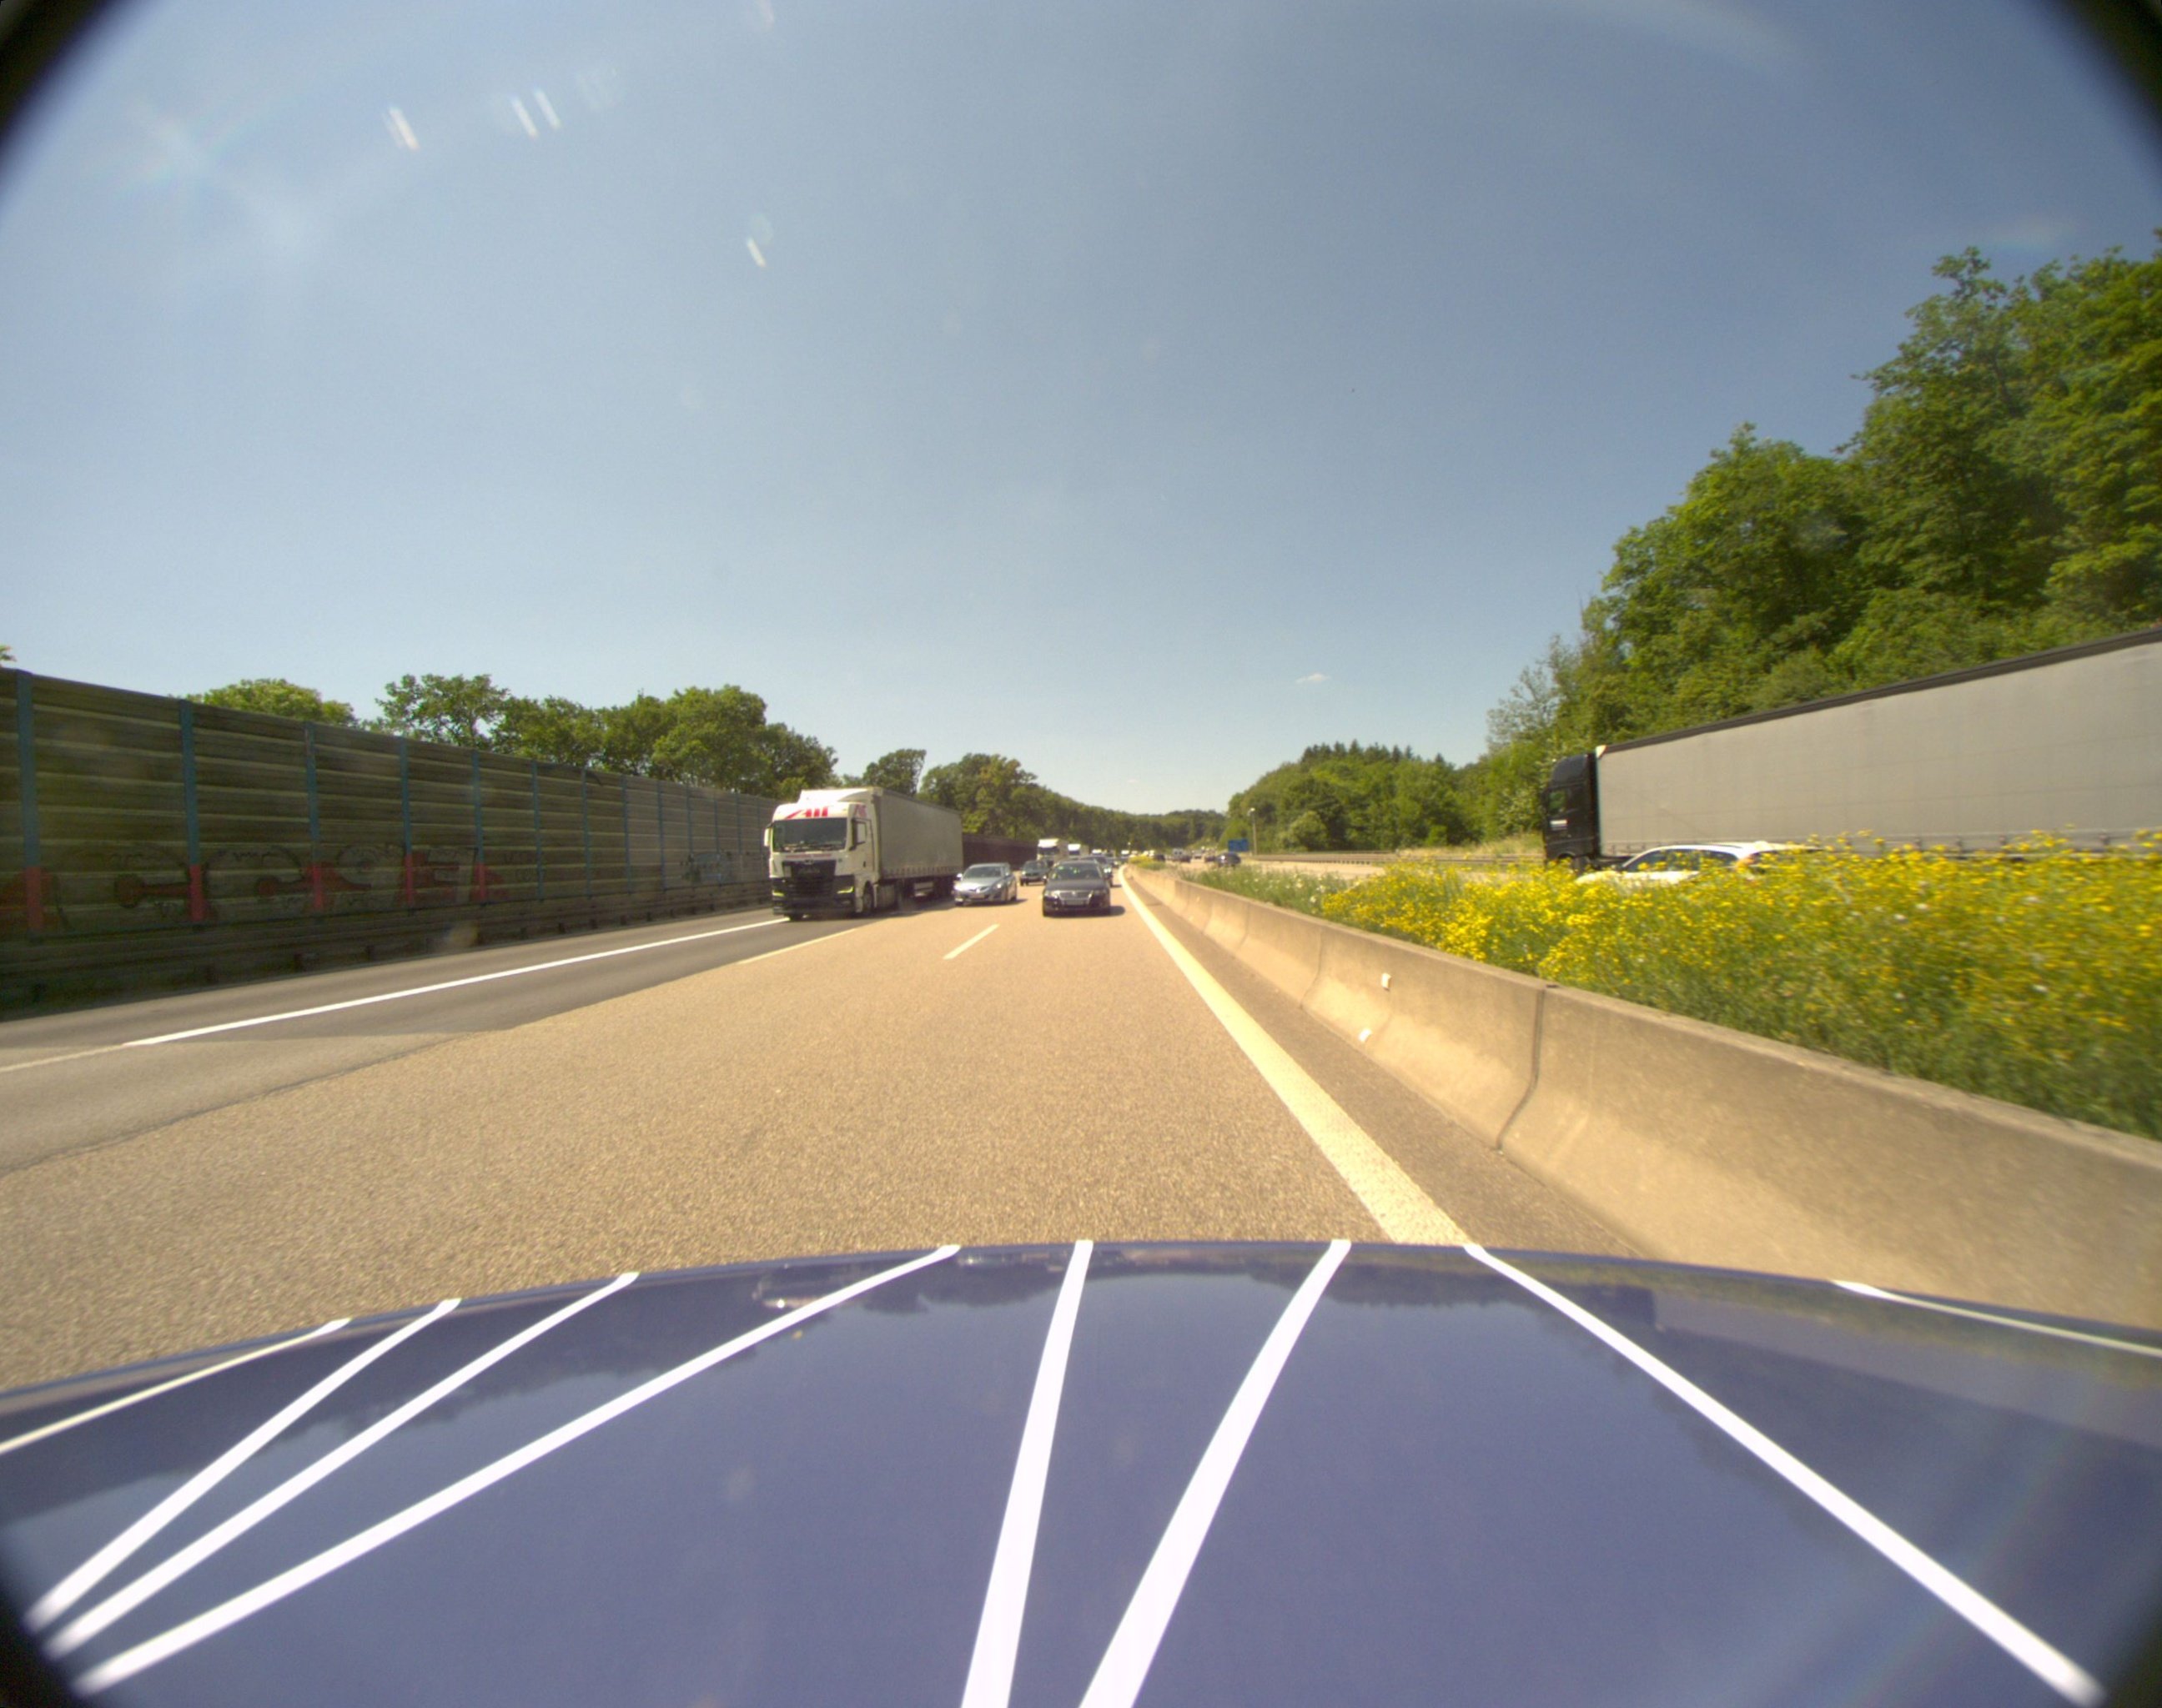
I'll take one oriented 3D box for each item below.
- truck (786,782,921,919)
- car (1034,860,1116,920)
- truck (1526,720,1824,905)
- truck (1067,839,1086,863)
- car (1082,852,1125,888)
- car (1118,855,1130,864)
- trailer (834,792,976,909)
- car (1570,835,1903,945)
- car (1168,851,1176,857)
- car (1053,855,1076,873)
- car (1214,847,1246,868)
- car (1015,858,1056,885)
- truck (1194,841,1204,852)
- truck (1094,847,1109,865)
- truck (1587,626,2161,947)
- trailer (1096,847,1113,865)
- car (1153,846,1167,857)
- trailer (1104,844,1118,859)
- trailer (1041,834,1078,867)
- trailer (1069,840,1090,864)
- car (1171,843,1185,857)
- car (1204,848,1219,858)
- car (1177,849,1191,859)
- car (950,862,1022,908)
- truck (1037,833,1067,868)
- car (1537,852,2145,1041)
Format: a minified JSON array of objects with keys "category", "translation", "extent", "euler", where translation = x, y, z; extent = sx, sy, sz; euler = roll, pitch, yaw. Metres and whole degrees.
[{"category":"truck","translation":[-7.463,-0.126,25.756],"extent":[2.604,4.067,5.553],"euler":[-2,1,2]},{"category":"car","translation":[-0.063,0.934,21.104],"extent":[1.907,1.410,4.001],"euler":[-2,0,4]},{"category":"truck","translation":[14.633,-0.898,19.458],"extent":[2.836,3.916,6.006],"euler":[-2,0,0]},{"category":"truck","translation":[-0.768,-0.528,135.596],"extent":[2.544,4.149,4.747],"euler":[-2,0,7]},{"category":"car","translation":[1.166,0.746,38.062],"extent":[1.998,1.641,4.000],"euler":[-2,0,3]},{"category":"car","translation":[8.269,1.028,144.800],"extent":[1.997,1.641,4.002],"euler":[-2,0,6]},{"category":"trailer","translation":[-7.192,-0.181,33.763],"extent":[2.604,4.066,13.592],"euler":[-2,0,2]},{"category":"car","translation":[10.642,0.502,12.877],"extent":[1.998,1.489,4.247],"euler":[-2,0,1]},{"category":"car","translation":[24.524,0.040,205.680],"extent":[1.847,1.412,4.234],"euler":[-2,0,3]},{"category":"car","translation":[-1.619,0.963,75.056],"extent":[1.998,1.641,4.000],"euler":[-2,0,1]},{"category":"car","translation":[12.810,0.293,65.615],"extent":[1.998,1.618,4.474],"euler":[-2,0,1]},{"category":"car","translation":[-2.777,1.039,47.162],"extent":[1.907,1.550,4.001],"euler":[-2,0,4]},{"category":"truck","translation":[38.173,-2.317,246.149],"extent":[2.741,3.454,7.318],"euler":[-2,0,6]},{"category":"truck","translation":[5.121,0.562,190.382],"extent":[2.852,4.381,5.242],"euler":[-2,0,8]},{"category":"truck","translation":[14.621,-0.875,12.872],"extent":[2.836,3.916,13.744],"euler":[-2,0,0]},{"category":"trailer","translation":[6.192,0.550,198.078],"extent":[2.852,4.391,13.035],"euler":[-2,0,8]},{"category":"car","translation":[13.221,-0.382,126.847],"extent":[1.998,1.713,4.357],"euler":[-2,0,2]},{"category":"trailer","translation":[8.865,-0.692,225.317],"extent":[3.153,4.061,6.187],"euler":[-2,0,11]},{"category":"trailer","translation":[-2.762,-0.429,104.301],"extent":[2.820,4.190,13.472],"euler":[-2,0,7]},{"category":"trailer","translation":[-0.239,-0.399,140.275],"extent":[2.541,4.149,10.181],"euler":[-2,0,6]},{"category":"car","translation":[19.160,-0.818,149.927],"extent":[2.221,2.685,6.063],"euler":[-2,0,2]},{"category":"car","translation":[20.162,-0.100,117.429],"extent":[1.844,1.444,4.001],"euler":[-2,0,2]},{"category":"car","translation":[16.481,0.020,121.733],"extent":[1.817,1.393,4.272],"euler":[-2,0,2]},{"category":"car","translation":[-3.342,1.074,27.449],"extent":[1.860,1.426,4.177],"euler":[-2,0,2]},{"category":"truck","translation":[-3.626,-0.413,97.680],"extent":[2.810,4.190,5.424],"euler":[-2,0,7]},{"category":"car","translation":[6.930,0.689,7.782],"extent":[1.998,1.333,4.247],"euler":[-2,0,1]}]
